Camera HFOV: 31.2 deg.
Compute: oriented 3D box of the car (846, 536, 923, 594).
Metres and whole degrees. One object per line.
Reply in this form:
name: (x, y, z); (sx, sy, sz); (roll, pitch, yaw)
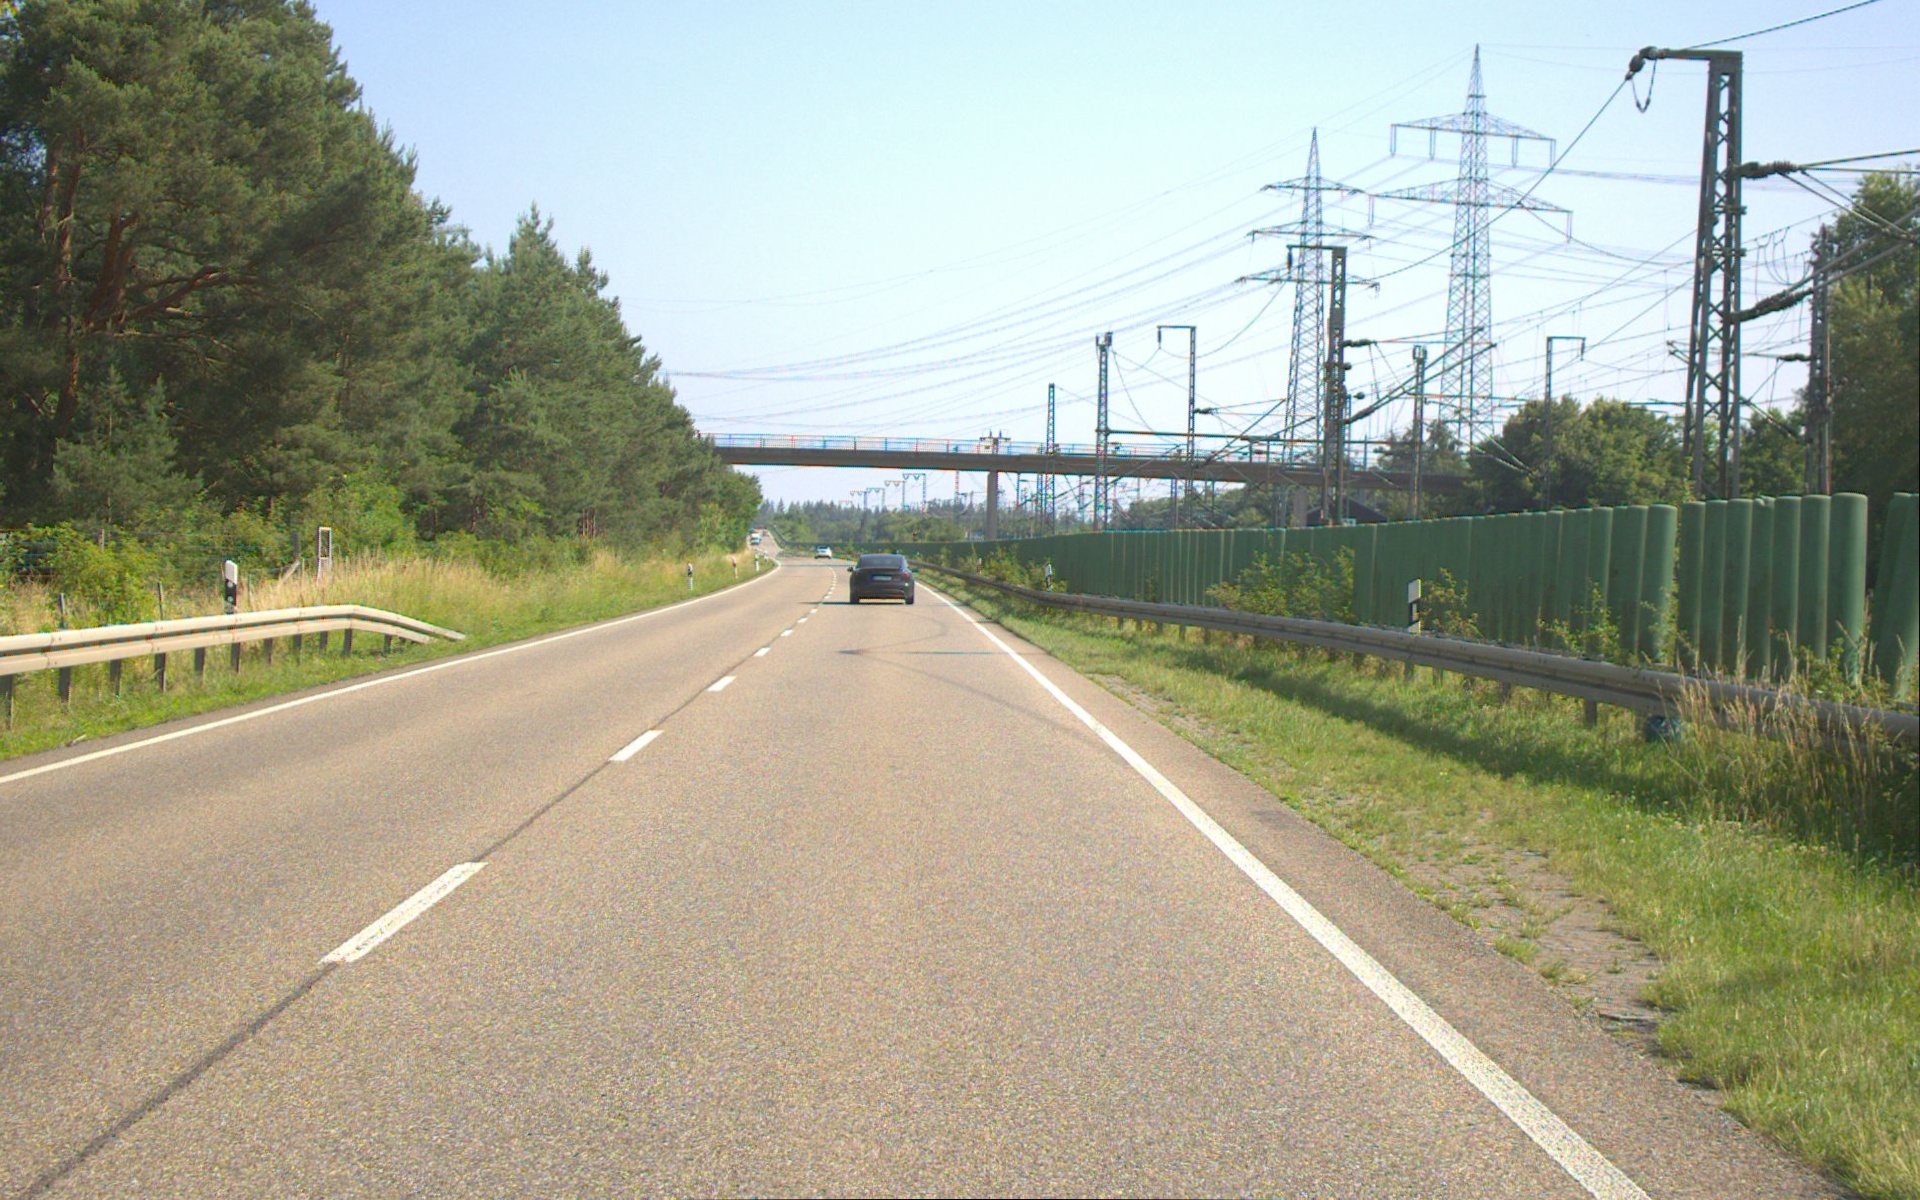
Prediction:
car: (-2.205, -1.022, 99.109); (1.858, 1.636, 4.001); (-1, 1, -6)
